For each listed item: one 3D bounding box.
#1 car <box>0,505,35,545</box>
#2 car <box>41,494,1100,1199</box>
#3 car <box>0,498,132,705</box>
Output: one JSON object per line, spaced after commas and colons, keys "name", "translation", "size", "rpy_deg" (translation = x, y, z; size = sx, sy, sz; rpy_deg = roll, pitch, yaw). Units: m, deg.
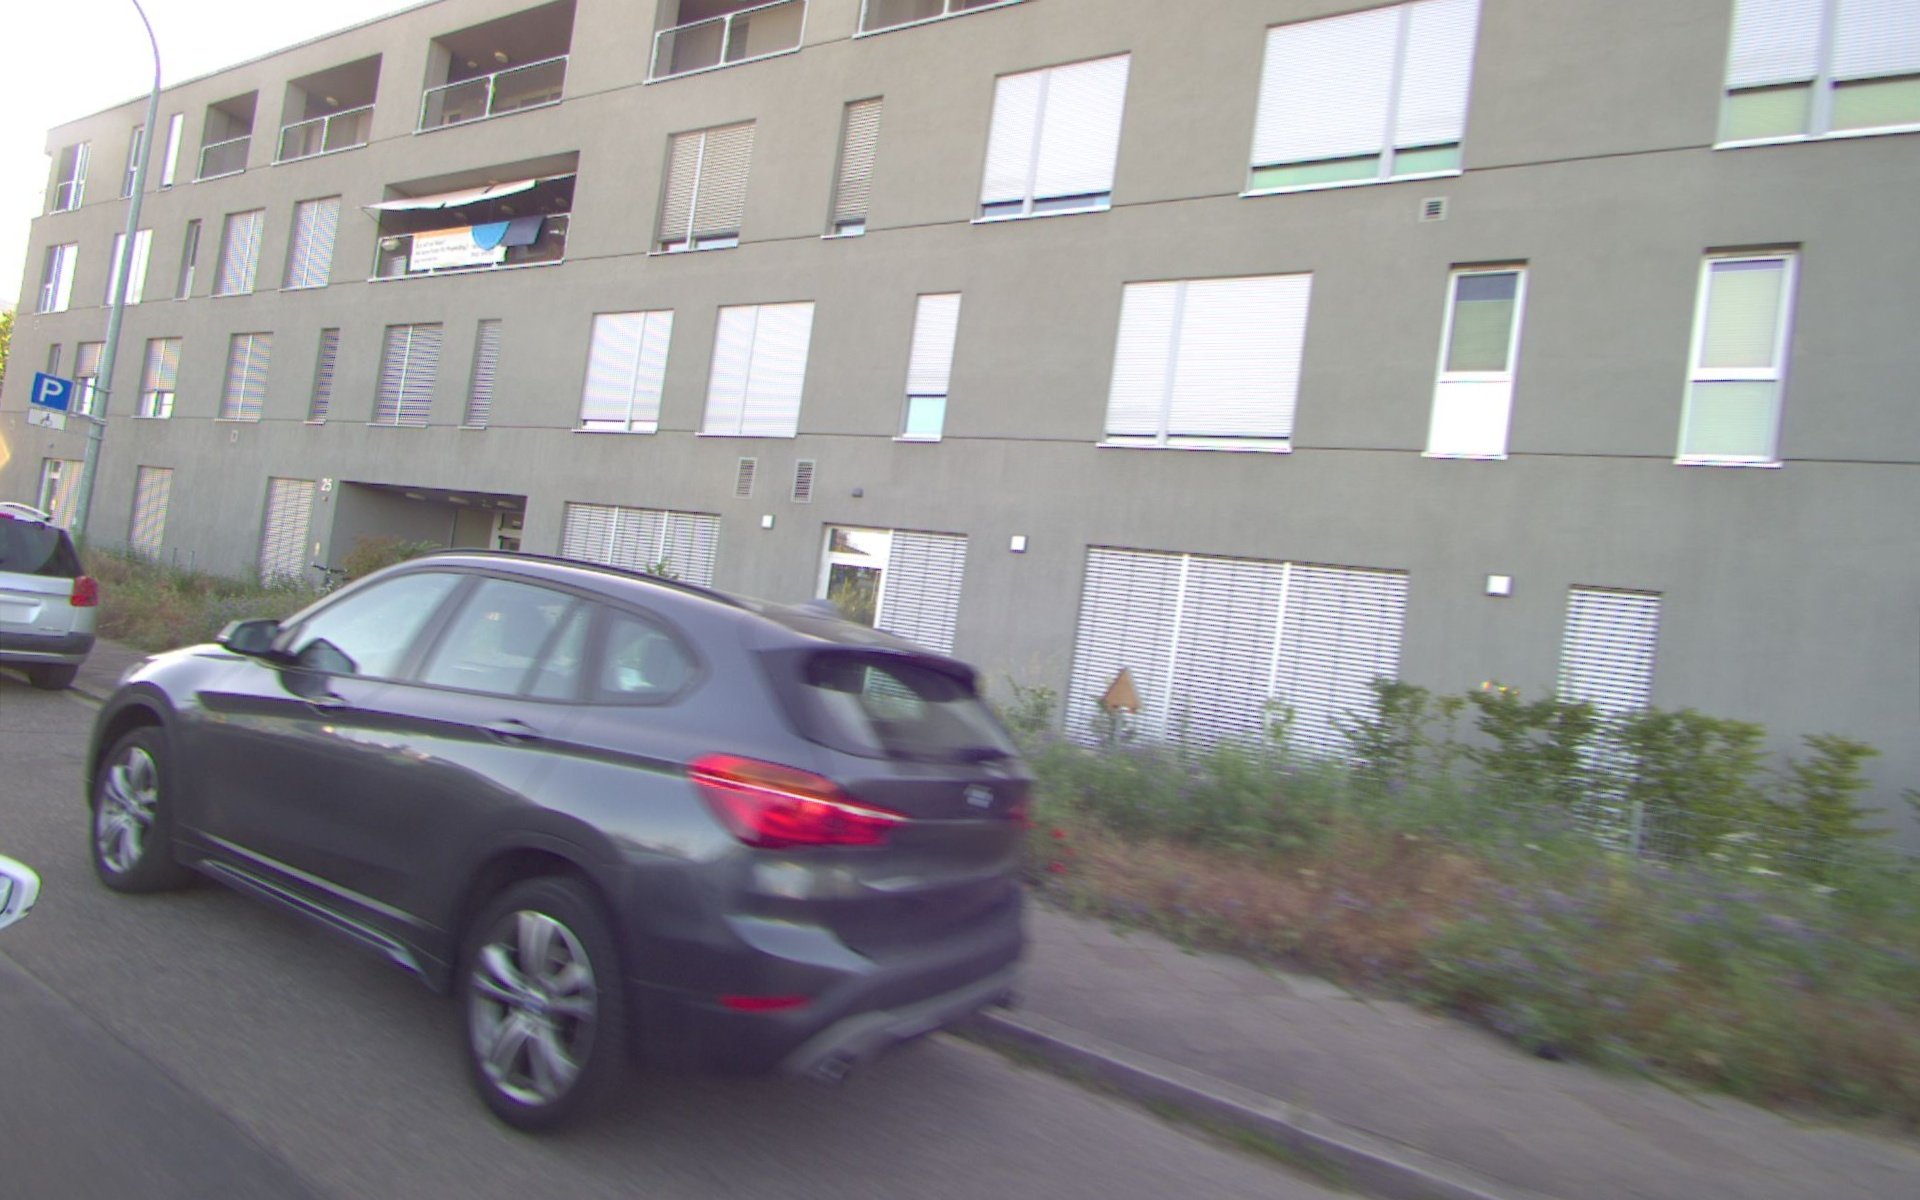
{"name": "car", "translation": [-41.399, -3.412, 42.325], "size": [1.426, 1.475, 3.225], "rpy_deg": [7, -5, 33]}
{"name": "car", "translation": [-1.753, 0.667, 4.177], "size": [4.108, 1.641, 1.748], "rpy_deg": [7, -4, 31]}
{"name": "car", "translation": [-9.164, -0.203, 8.733], "size": [3.785, 1.567, 1.663], "rpy_deg": [7, -4, 30]}
